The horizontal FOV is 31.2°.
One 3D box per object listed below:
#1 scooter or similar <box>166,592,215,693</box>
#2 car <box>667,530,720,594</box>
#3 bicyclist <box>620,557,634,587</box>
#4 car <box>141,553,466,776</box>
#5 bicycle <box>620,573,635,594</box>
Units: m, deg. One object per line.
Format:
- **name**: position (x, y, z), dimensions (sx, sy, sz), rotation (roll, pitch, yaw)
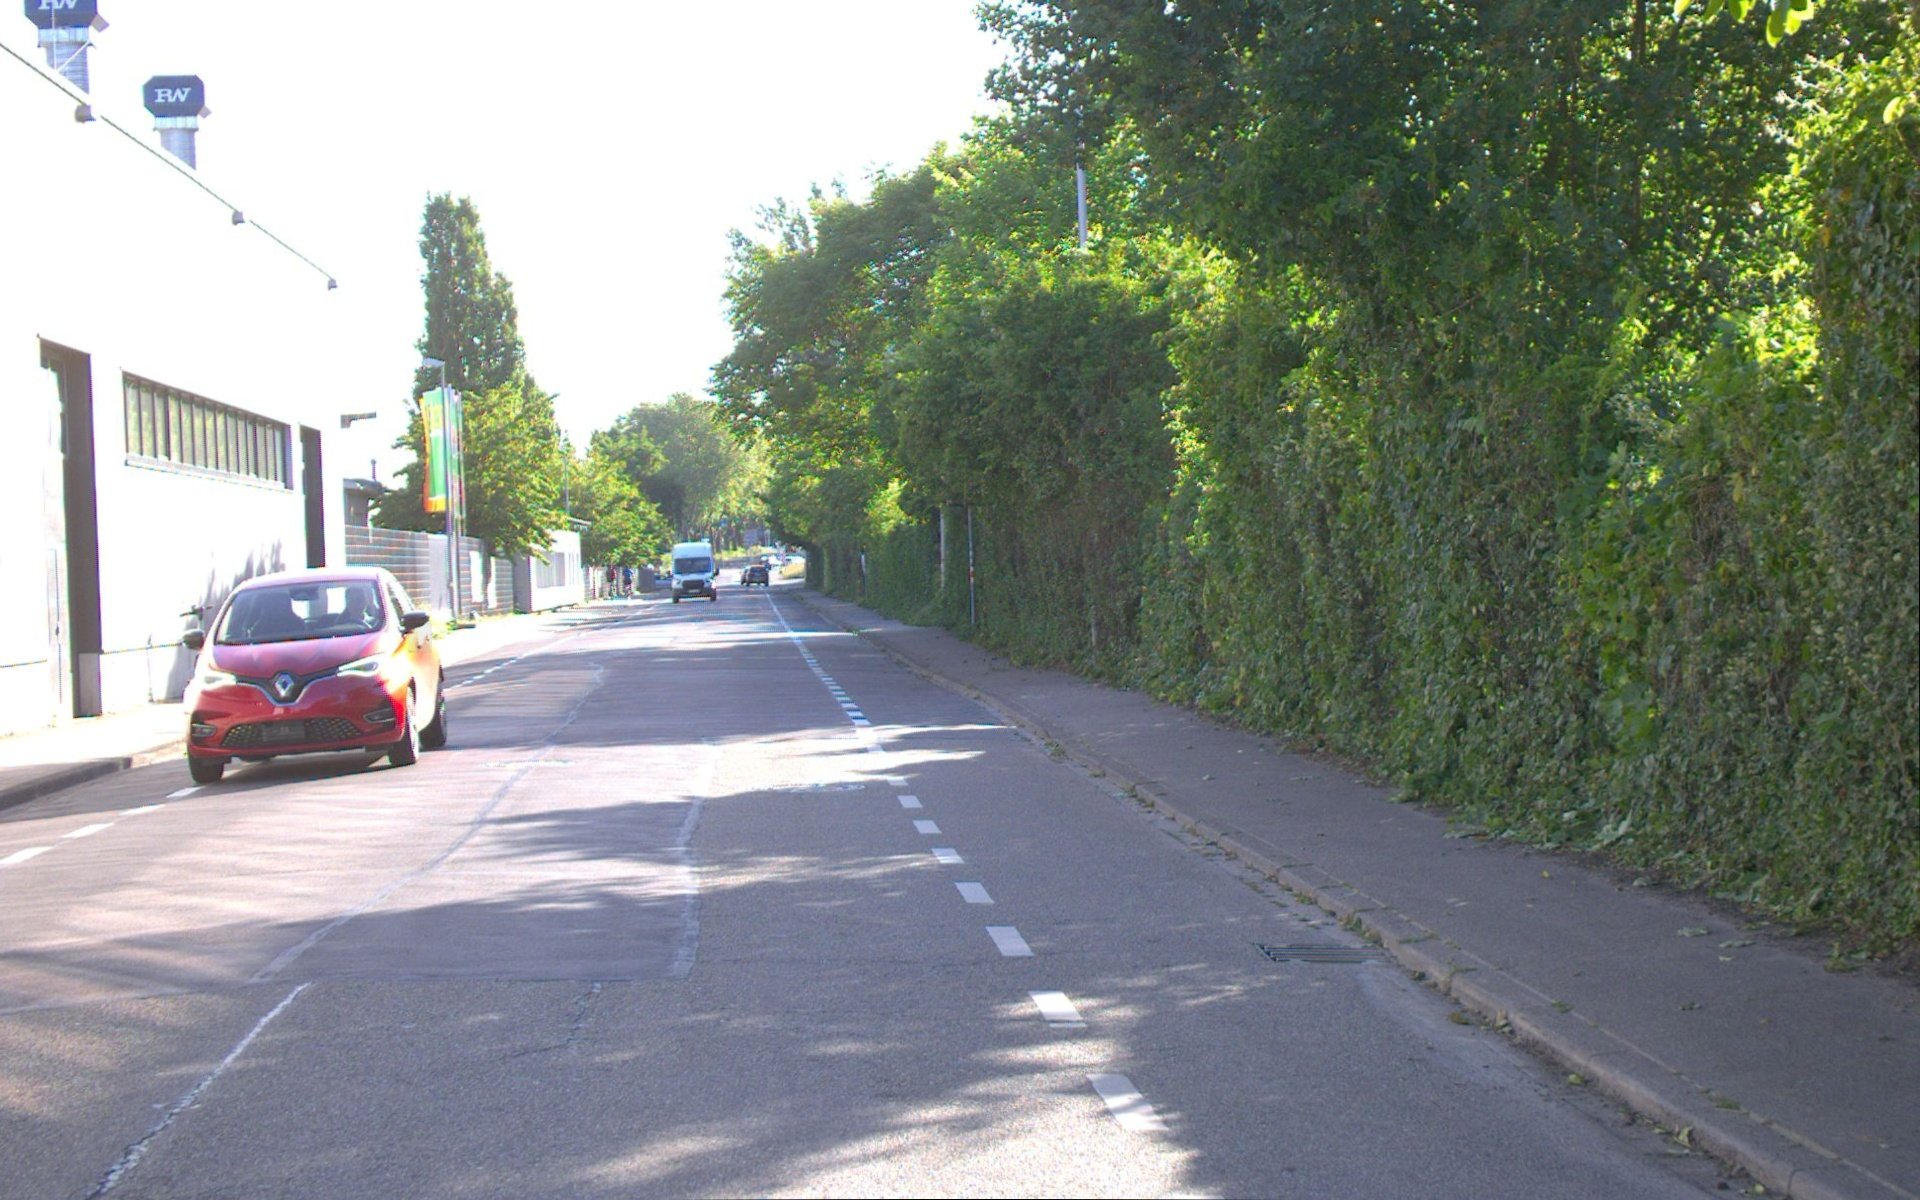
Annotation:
- **scooter or similar**: position (-9.932, 0.547, 44.390), dimensions (0.416, 1.263, 1.060), rotation (-2, 1, -4)
- **car**: position (-12.494, -1.783, 161.314), dimensions (2.123, 2.771, 5.927), rotation (-4, 1, -3)
- **bicyclist**: position (-17.177, -1.464, 177.523), dimensions (0.689, 1.527, 0.722), rotation (-1, 1, -3)
- **car**: position (-5.165, 0.451, 27.566), dimensions (1.817, 1.484, 4.000), rotation (-6, 1, -2)
- **bicycle**: position (-17.164, -0.856, 177.513), dimensions (0.689, 1.030, 1.351), rotation (-1, 1, -3)
